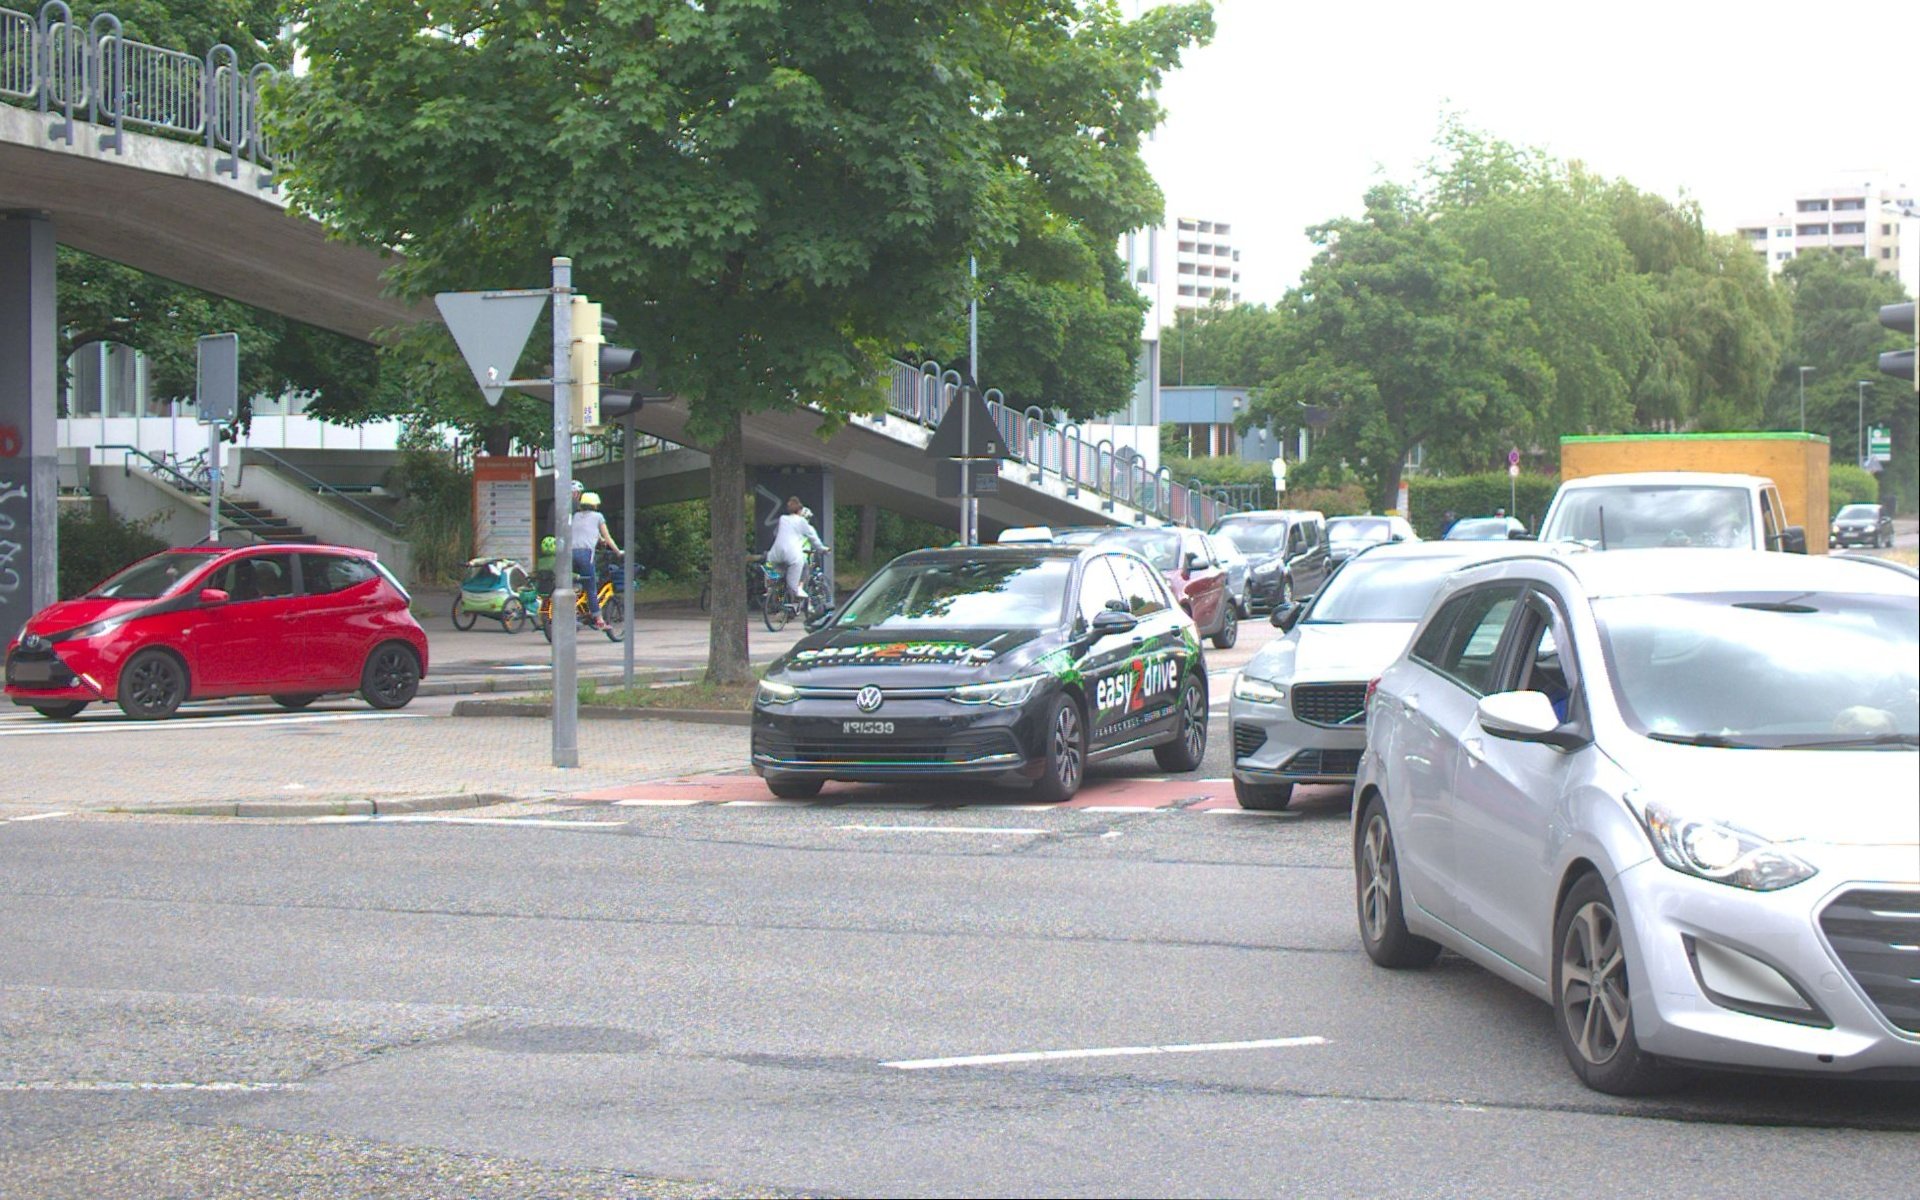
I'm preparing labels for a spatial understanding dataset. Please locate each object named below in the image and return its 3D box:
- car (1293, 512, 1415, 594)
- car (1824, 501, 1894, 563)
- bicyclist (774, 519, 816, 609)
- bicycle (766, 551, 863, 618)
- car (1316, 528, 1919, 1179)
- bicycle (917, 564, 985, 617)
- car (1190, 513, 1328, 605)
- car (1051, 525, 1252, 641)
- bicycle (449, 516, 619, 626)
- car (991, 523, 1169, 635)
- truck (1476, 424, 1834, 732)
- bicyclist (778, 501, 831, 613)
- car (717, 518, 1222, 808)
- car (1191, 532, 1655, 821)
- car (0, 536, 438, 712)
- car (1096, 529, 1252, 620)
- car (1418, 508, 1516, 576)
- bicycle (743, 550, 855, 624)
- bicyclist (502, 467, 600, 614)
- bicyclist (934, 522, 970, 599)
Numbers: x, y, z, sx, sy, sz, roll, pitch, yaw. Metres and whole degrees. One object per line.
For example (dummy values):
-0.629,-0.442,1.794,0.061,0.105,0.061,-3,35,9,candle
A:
7.873,-0.954,68.404,1.673,1.546,3.997,1,2,17,car
29.609,-2.247,113.161,1.995,2.007,3.997,1,2,18,car
-2.241,-0.495,46.698,0.405,1.177,0.377,5,4,19,bicyclist
-2.136,-0.237,50.649,0.527,0.946,1.706,1,2,33,bicycle
2.439,0.562,10.472,1.788,1.514,4.327,0,2,-7,car
-0.133,-0.160,54.221,0.510,0.776,1.839,1,2,19,bicycle
5.388,-0.760,61.604,1.673,1.546,3.759,1,2,17,car
2.400,-0.238,42.512,1.560,1.341,2.969,1,2,23,car
-5.488,-0.403,44.597,0.857,1.310,3.227,1,3,19,bicycle
1.839,-0.352,51.389,1.673,1.546,3.889,1,2,17,car
5.705,-0.267,27.606,2.157,2.191,5.835,1,2,18,truck
-2.284,-0.638,50.427,0.566,1.638,0.530,1,1,34,bicyclist
0.189,0.272,20.212,1.771,1.472,4.386,1,2,17,car
2.752,0.385,19.448,1.898,1.415,4.732,1,0,16,car
-6.284,0.157,28.949,3.523,1.385,1.516,-1,2,-45,car
3.561,-0.449,56.604,1.673,1.382,3.892,1,2,17,car
11.942,-1.385,80.822,1.673,1.546,3.997,1,2,17,car
-2.181,-0.184,46.843,0.763,0.946,1.951,1,2,23,bicycle
-5.351,-0.794,45.004,0.857,1.886,1.126,1,3,19,bicyclist
-0.125,-0.629,54.250,0.431,1.213,0.567,1,2,16,bicyclist
